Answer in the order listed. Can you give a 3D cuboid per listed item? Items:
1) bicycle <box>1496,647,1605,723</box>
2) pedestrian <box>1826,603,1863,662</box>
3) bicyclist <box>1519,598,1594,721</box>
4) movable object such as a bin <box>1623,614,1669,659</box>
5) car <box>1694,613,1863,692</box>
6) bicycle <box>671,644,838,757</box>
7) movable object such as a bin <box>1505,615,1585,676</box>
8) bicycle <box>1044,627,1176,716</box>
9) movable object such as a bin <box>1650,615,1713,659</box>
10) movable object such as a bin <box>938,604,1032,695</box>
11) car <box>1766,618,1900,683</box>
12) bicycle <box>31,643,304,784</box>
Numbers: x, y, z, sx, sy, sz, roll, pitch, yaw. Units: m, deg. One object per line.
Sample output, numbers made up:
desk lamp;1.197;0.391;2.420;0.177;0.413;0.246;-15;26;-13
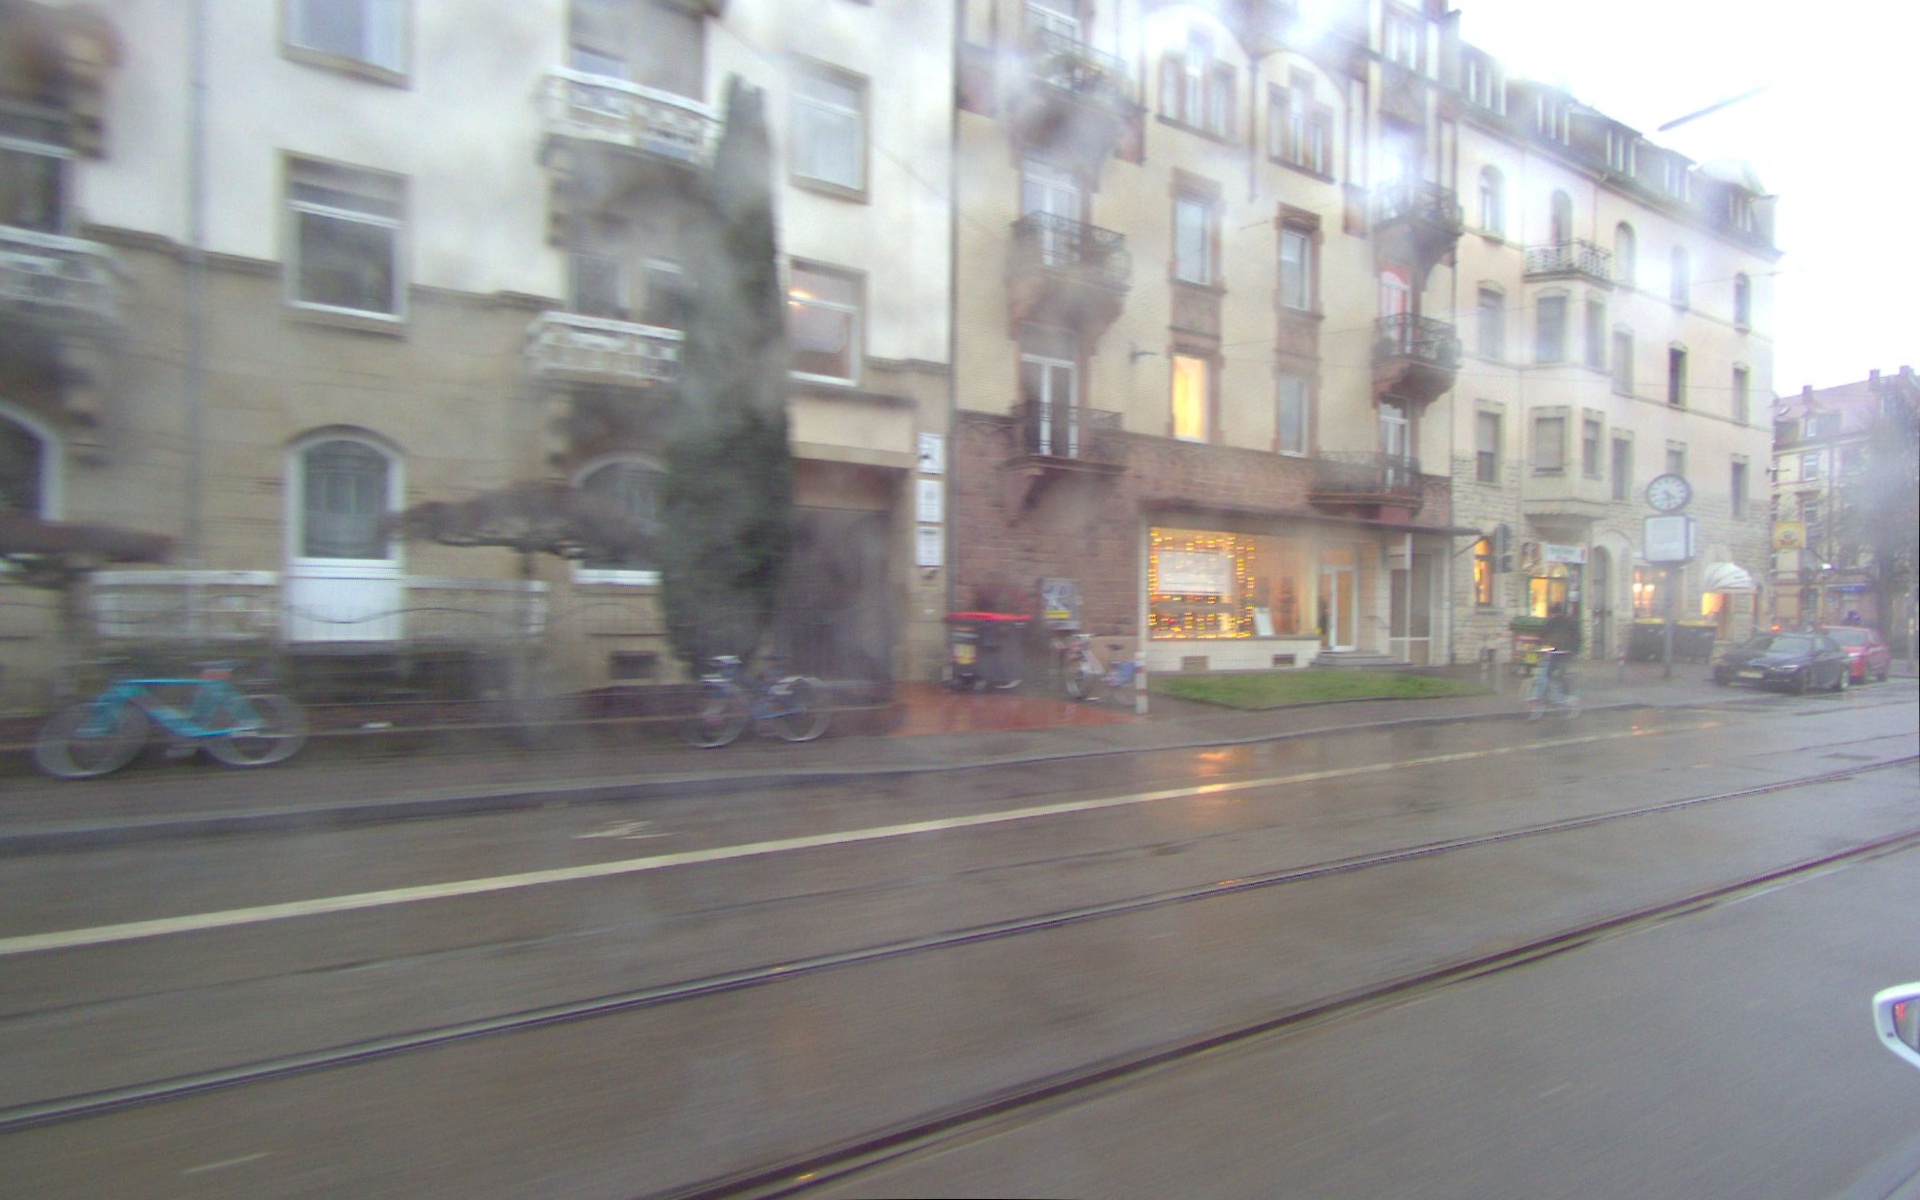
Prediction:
bicycle;9.416;1.329;15.995;1.924;1.107;0.620;1;0;-29
pedestrian;31.159;1.140;35.396;0.635;2.040;0.758;1;0;5
bicyclist;9.538;0.931;16.054;0.979;1.901;0.621;1;0;-29
movable object such as a bin;22.246;1.171;32.568;0.995;1.396;0.894;1;0;-31
car;20.875;1.298;25.587;4.583;1.667;1.973;2;4;-34
bicycle;-2.200;1.041;10.804;1.642;1.107;0.620;1;0;-29
movable object such as a bin;14.484;1.107;24.873;1.235;1.439;1.261;1;0;-30
bicycle;2.226;1.041;15.335;0.687;1.120;2.338;1;2;-29
movable object such as a bin;23.574;1.182;32.812;1.238;1.385;1.287;1;0;-31
movable object such as a bin;0.411;0.805;16.859;1.154;1.398;1.097;1;3;-30
car;25.394;1.408;29.189;3.993;1.573;2.023;0;4;-36
bicycle;-6.340;0.871;8.155;1.642;1.016;0.620;1;0;-29
